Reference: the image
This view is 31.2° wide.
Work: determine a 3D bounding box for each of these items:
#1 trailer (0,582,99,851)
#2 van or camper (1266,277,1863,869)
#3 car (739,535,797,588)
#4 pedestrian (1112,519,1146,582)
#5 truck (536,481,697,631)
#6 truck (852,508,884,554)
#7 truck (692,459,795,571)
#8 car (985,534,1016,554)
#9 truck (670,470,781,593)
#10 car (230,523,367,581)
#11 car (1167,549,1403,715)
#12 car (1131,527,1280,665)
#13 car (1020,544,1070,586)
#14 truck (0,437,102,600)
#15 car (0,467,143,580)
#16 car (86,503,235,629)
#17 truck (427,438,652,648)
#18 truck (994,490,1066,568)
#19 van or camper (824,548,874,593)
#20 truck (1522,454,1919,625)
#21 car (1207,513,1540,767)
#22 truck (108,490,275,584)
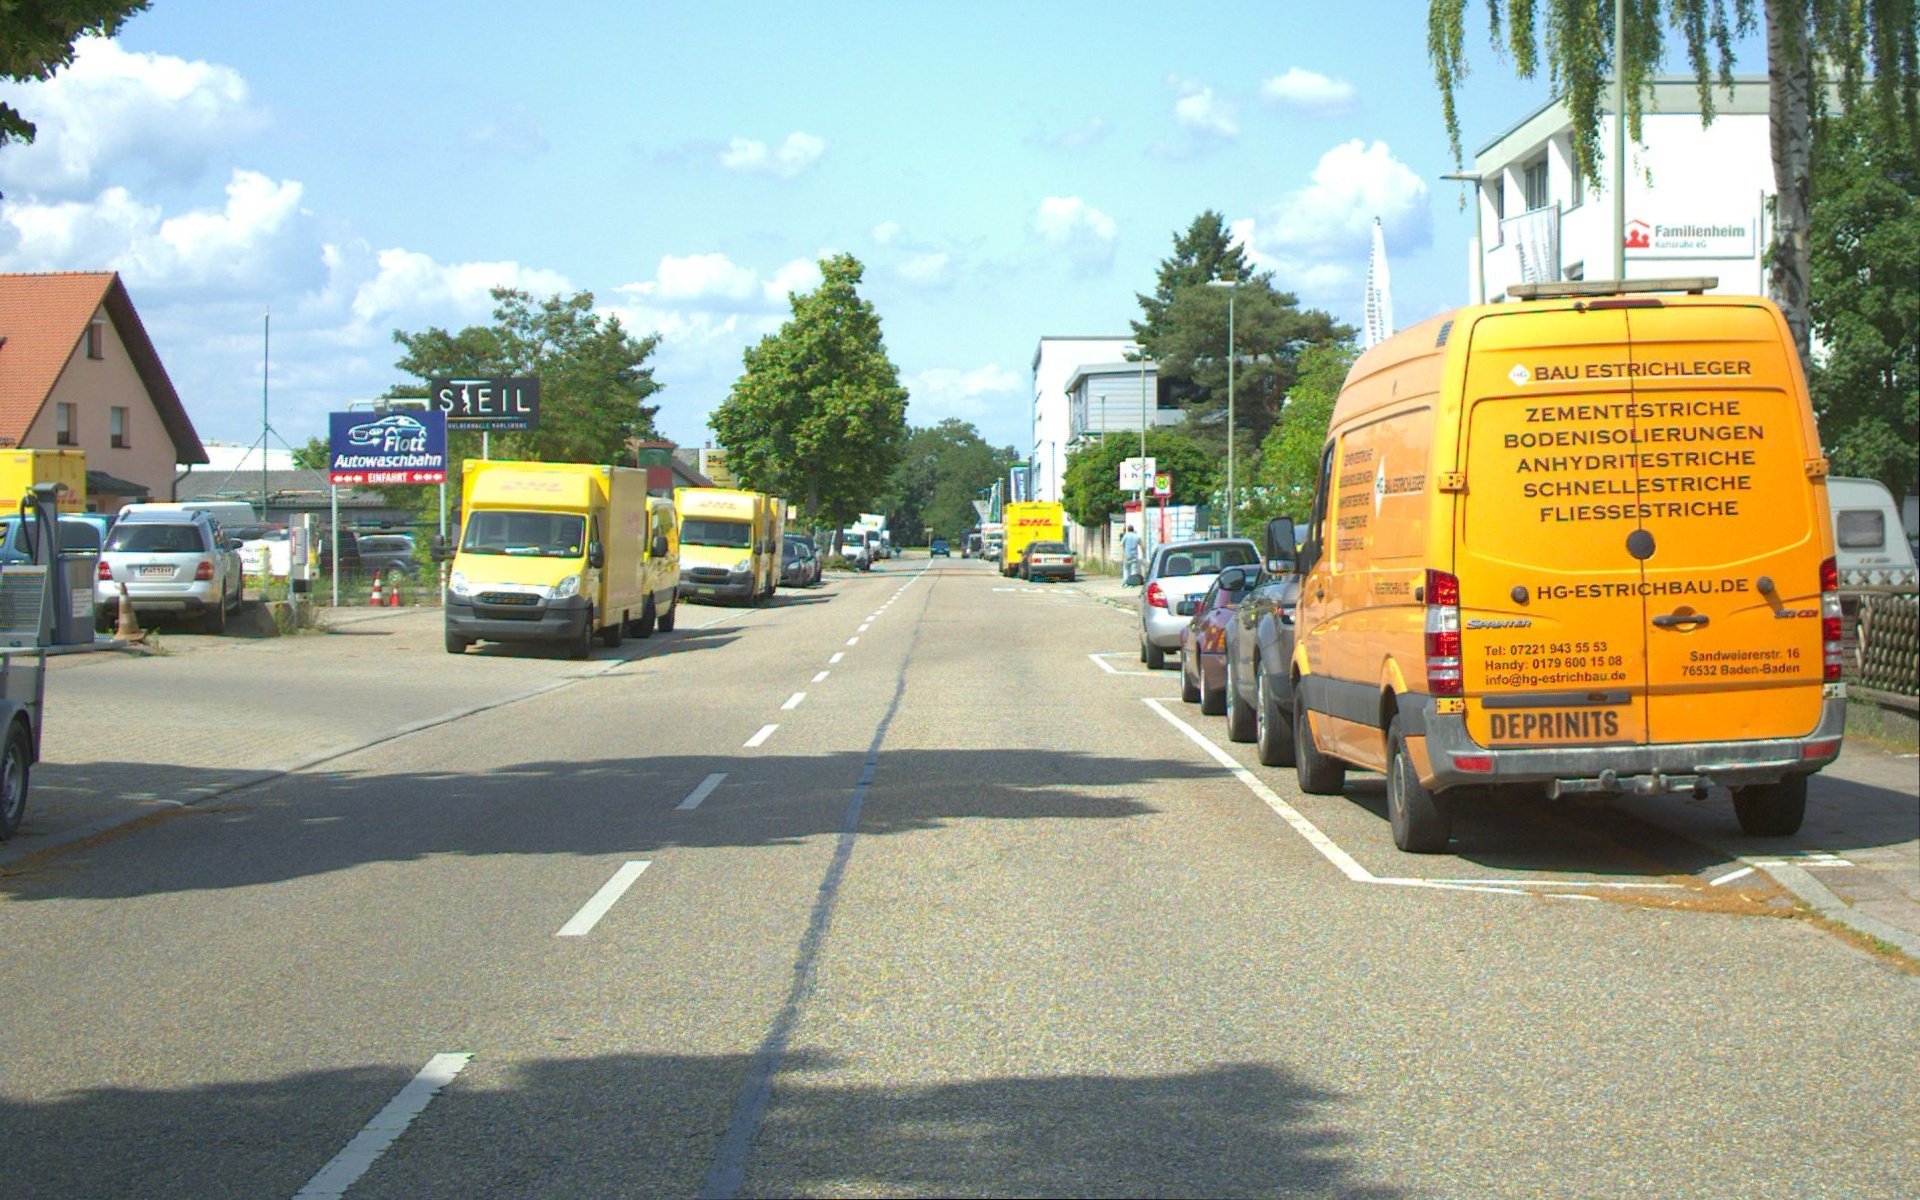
[{"bbox_3d":[-5.690,0.585,17.161,1.761,1.285,4.508,3,1,-2],"label":"trailer"},{"bbox_3d":[2.989,-0.190,18.382,1.993,2.655,5.770,0,1,-2],"label":"van or camper"},{"bbox_3d":[-6.245,-1.264,112.061,1.724,1.598,4.415,3,1,-2],"label":"car"},{"bbox_3d":[4.745,-1.379,96.393,0.715,1.691,0.522,-6,1,-4],"label":"pedestrian"},{"bbox_3d":[-5.779,-0.781,58.529,1.993,2.405,6.064,0,1,1],"label":"truck"},{"bbox_3d":[-6.357,-4.810,238.898,2.029,3.143,6.500,-1,1,0],"label":"truck"},{"bbox_3d":[-5.860,-2.301,93.938,2.316,2.853,7.105,2,1,0],"label":"truck"},{"bbox_3d":[2.667,-3.695,226.882,1.928,1.306,4.000,-1,1,0],"label":"car"},{"bbox_3d":[-5.703,-1.645,84.377,2.269,2.845,7.175,1,1,-1],"label":"truck"},{"bbox_3d":[-16.380,-1.200,85.256,1.811,1.301,3.867,-1,2,15],"label":"car"},{"bbox_3d":[2.833,0.234,30.760,1.669,1.330,4.438,0,1,0],"label":"car"},{"bbox_3d":[2.956,-0.087,42.029,1.610,1.575,4.000,1,1,2],"label":"car"},{"bbox_3d":[3.029,-1.264,122.681,1.652,1.382,4.423,1,2,0],"label":"car"},{"bbox_3d":[-19.110,-1.460,62.028,6.601,2.840,2.527,0,1,13],"label":"truck"},{"bbox_3d":[-16.061,-1.330,58.076,3.930,1.804,1.855,2,2,10],"label":"car"},{"bbox_3d":[-12.116,-0.560,52.357,1.828,1.699,4.709,-1,3,-9],"label":"car"},{"bbox_3d":[-6.102,-0.864,50.804,2.220,2.847,7.069,1,1,2],"label":"truck"},{"bbox_3d":[2.705,-2.780,134.215,2.474,2.930,7.189,1,1,-1],"label":"truck"},{"bbox_3d":[-6.234,-1.684,194.287,2.174,2.405,7.697,0,1,3],"label":"van or camper"},{"bbox_3d":[12.112,-0.966,54.215,6.039,2.568,2.567,-1,2,-26],"label":"truck"},{"bbox_3d":[2.827,0.211,24.347,1.832,1.634,4.240,0,1,0],"label":"car"},{"bbox_3d":[-20.895,-1.726,93.736,2.112,2.479,5.717,0,1,14],"label":"truck"}]
